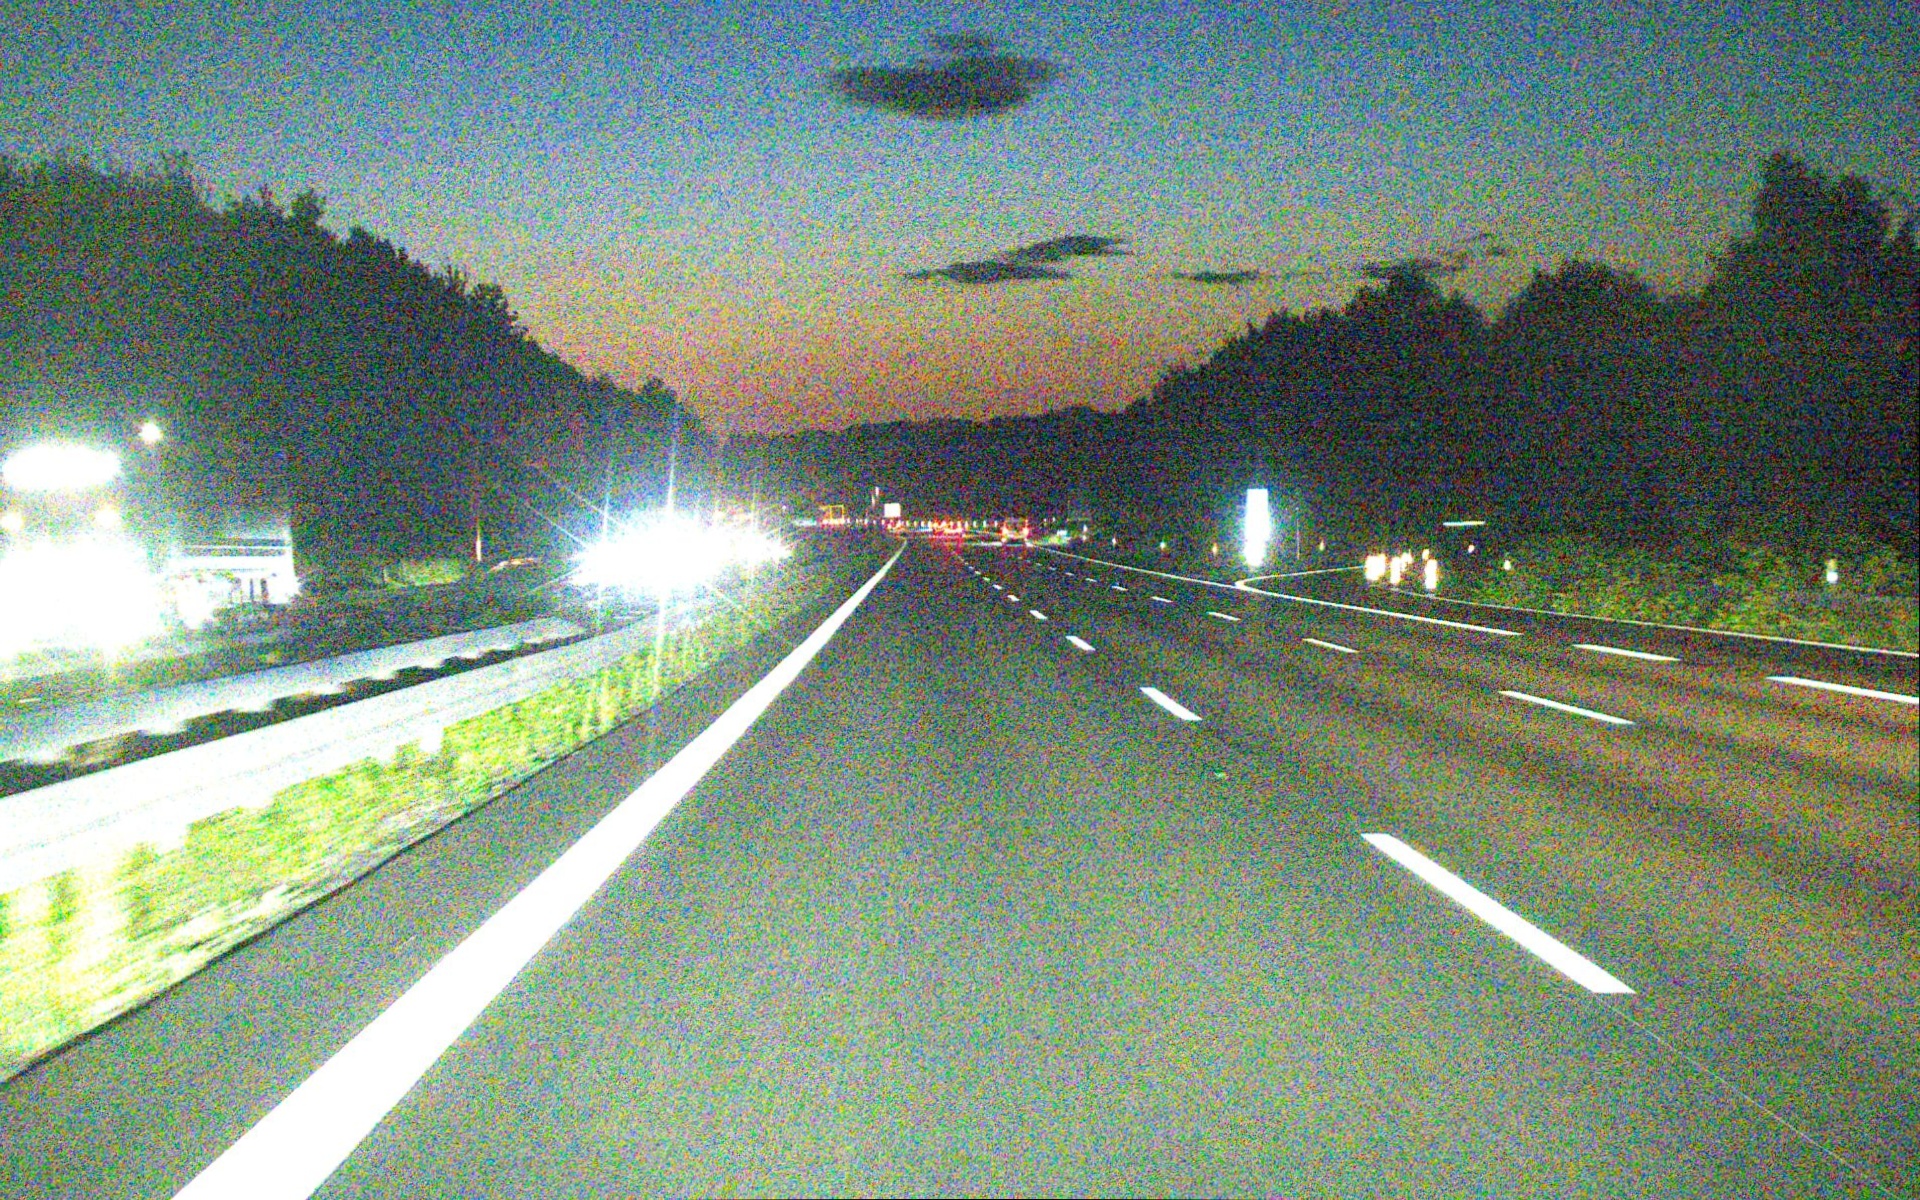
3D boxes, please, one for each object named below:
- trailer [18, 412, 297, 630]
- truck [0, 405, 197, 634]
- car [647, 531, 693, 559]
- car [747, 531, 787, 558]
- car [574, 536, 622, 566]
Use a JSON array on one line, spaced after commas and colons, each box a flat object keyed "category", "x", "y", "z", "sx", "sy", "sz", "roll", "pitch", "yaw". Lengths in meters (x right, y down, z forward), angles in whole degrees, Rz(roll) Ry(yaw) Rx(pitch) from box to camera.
[{"category": "trailer", "x": -17.085, "y": -1.652, "z": 74.382, "sx": 2.860, "sy": 4.161, "sz": 13.906, "roll": -2, "pitch": 1, "yaw": -1}, {"category": "truck", "x": -16.945, "y": -1.539, "z": 67.127, "sx": 2.753, "sy": 4.197, "sz": 5.827, "roll": -2, "pitch": 1, "yaw": -1}, {"category": "car", "x": -15.074, "y": -2.878, "z": 179.166, "sx": 1.993, "sy": 1.389, "sz": 5.706, "roll": -1, "pitch": 1, "yaw": -1}, {"category": "car", "x": -11.202, "y": -3.232, "z": 200.071, "sx": 1.993, "sy": 1.456, "sz": 4.900, "roll": -3, "pitch": 1, "yaw": 0}, {"category": "car", "x": -18.916, "y": -2.561, "z": 179.829, "sx": 1.993, "sy": 1.480, "sz": 4.801, "roll": -2, "pitch": 1, "yaw": 0}]
